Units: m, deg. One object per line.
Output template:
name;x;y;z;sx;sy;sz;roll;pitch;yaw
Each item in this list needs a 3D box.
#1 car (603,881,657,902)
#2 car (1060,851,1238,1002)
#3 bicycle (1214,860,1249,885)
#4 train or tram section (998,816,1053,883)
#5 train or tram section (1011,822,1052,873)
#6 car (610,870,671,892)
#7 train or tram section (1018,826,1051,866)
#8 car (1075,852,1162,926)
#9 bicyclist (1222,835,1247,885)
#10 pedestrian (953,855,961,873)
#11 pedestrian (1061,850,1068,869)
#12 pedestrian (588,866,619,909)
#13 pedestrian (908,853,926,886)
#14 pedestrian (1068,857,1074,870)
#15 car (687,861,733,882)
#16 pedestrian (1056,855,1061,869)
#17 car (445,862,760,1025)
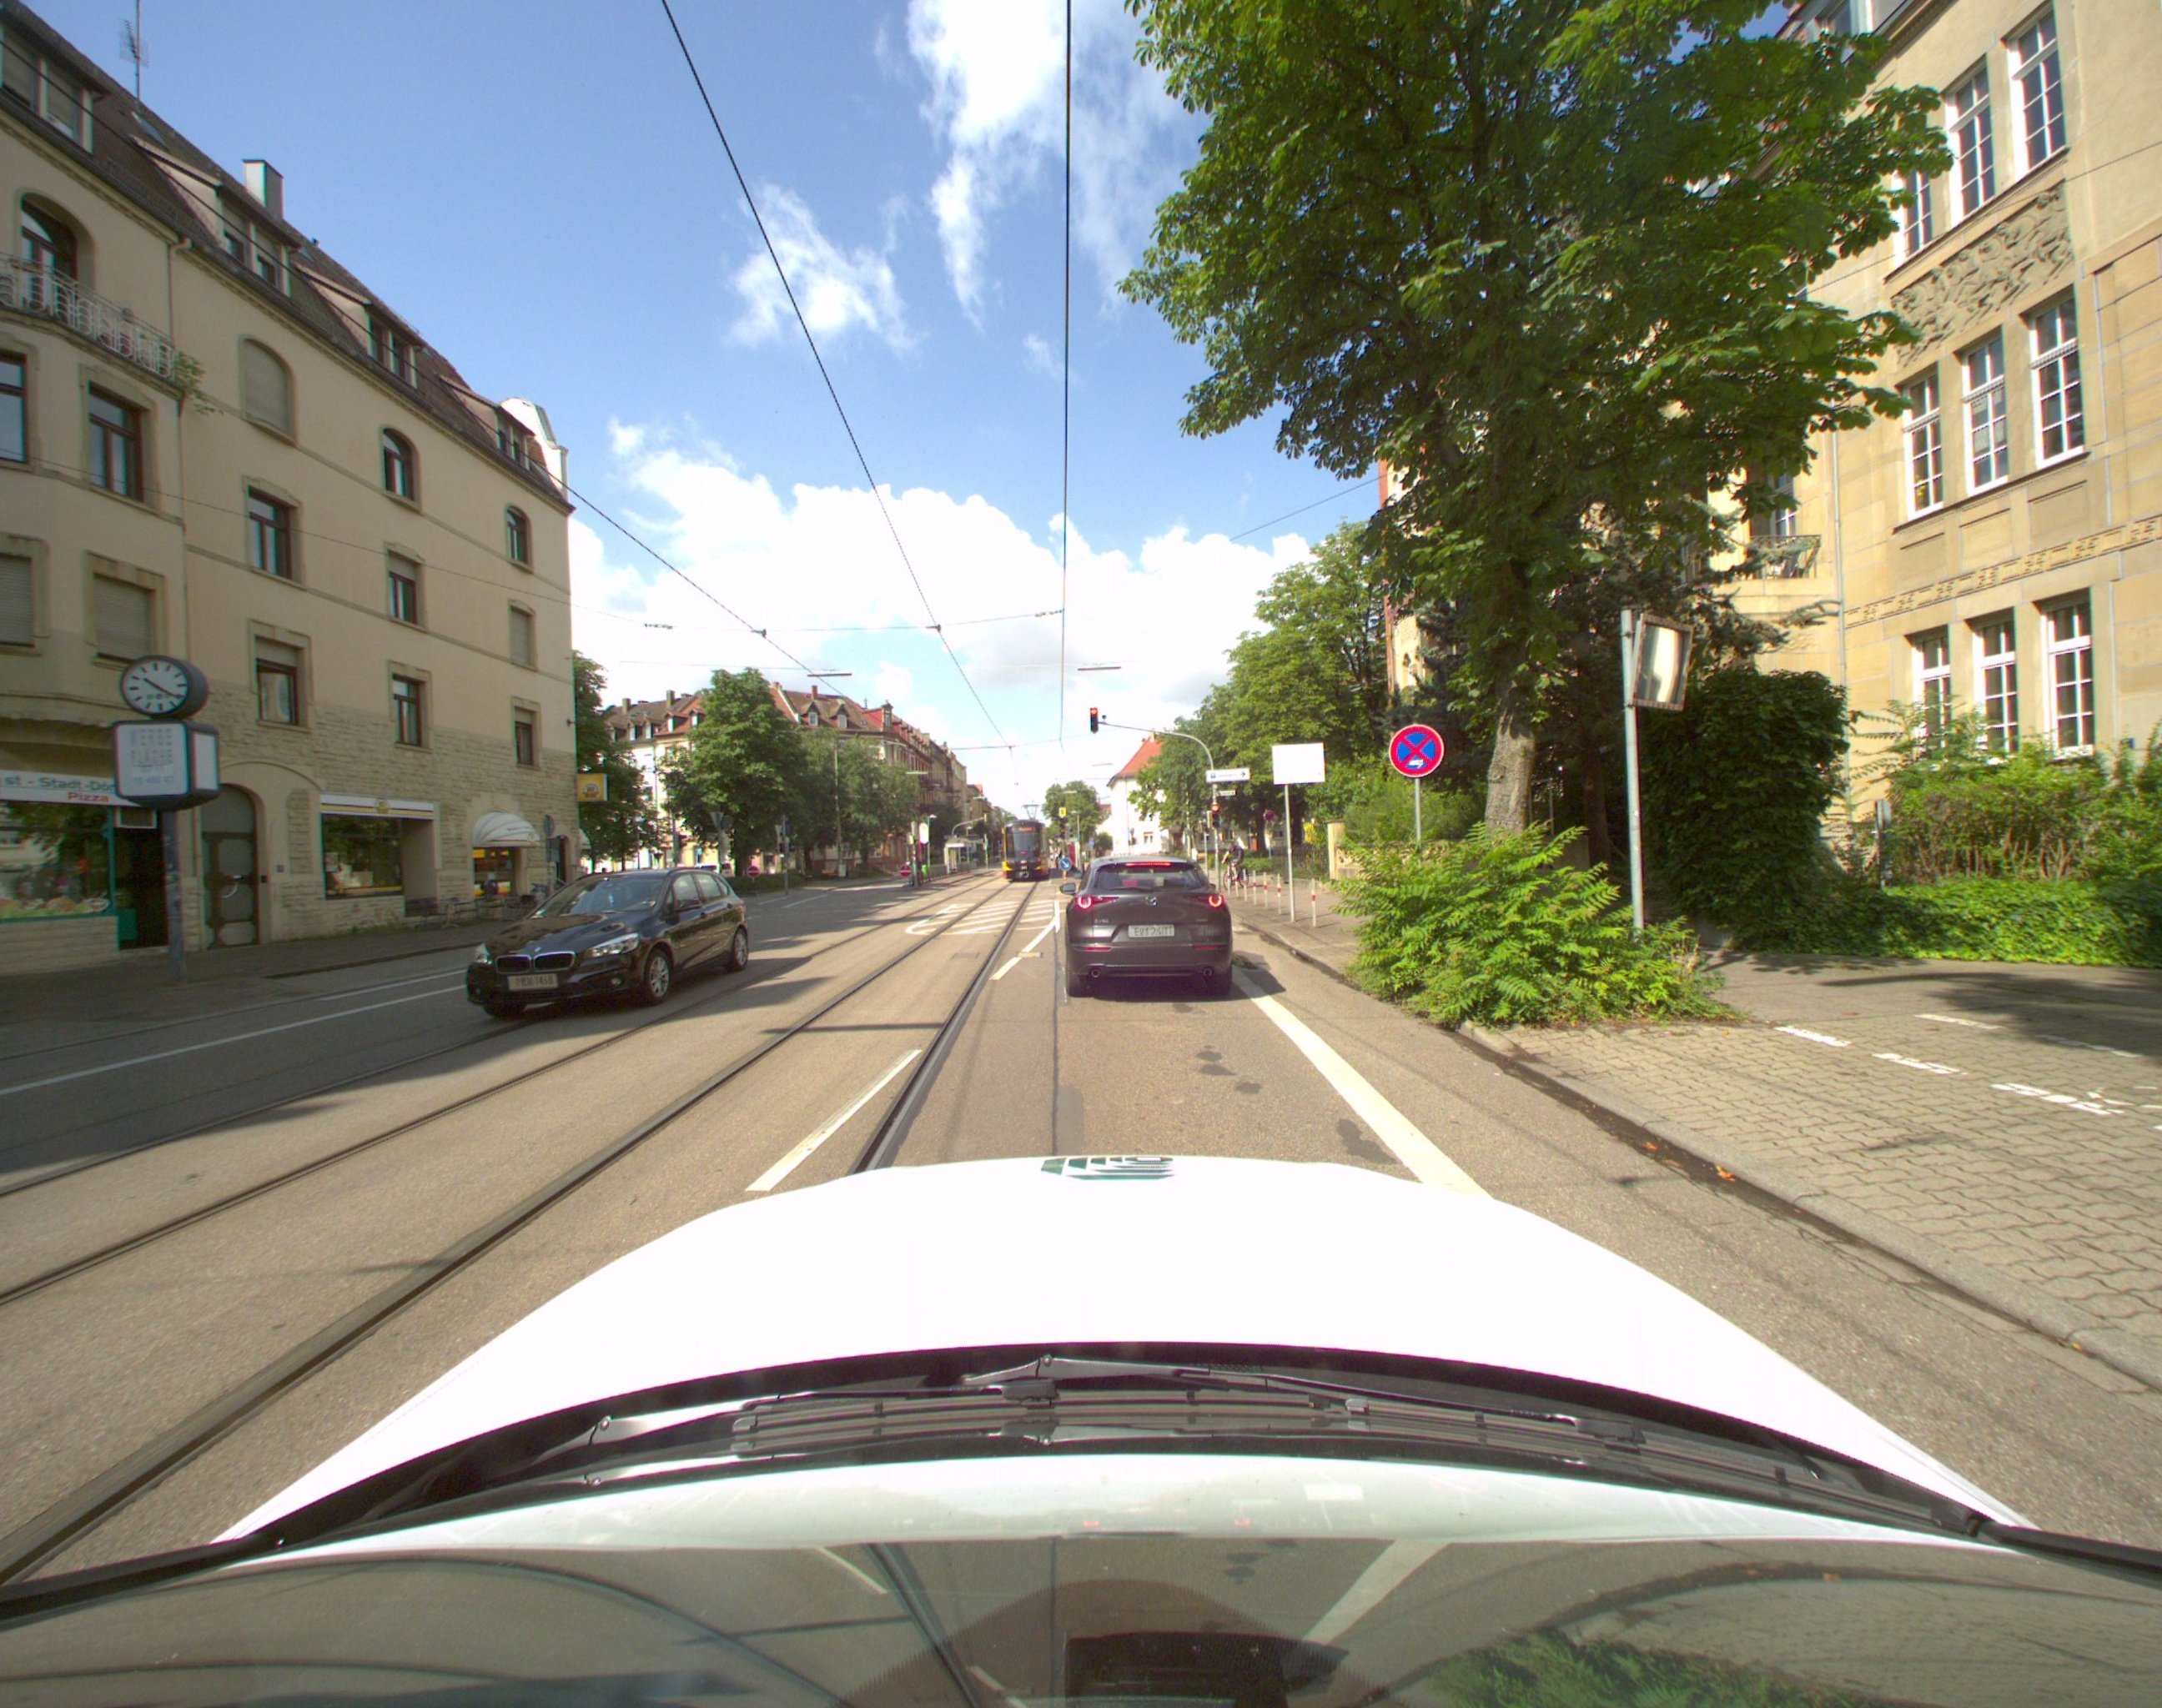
car;-30.174;2.486;54.584;1.670;1.182;3.993;-2;0;-5
car;0.729;0.716;10.148;1.772;1.499;4.001;0;0;1
bicycle;5.485;0.656;29.551;0.488;0.824;1.710;-2;0;38
train or tram section;-3.243;-0.356;50.809;2.746;3.490;14.396;-2;1;-2
train or tram section;-3.799;-0.596;65.181;2.746;3.490;14.396;-2;1;-2
car;-36.989;2.245;68.508;3.972;1.596;2.001;-3;0;2
train or tram section;-4.393;-0.835;79.565;2.746;3.490;14.396;-2;1;-2
car;0.828;0.713;18.758;1.772;1.499;4.001;0;0;1
bicyclist;5.606;0.201;29.717;0.649;1.793;0.614;-2;0;37
pedestrian;-9.893;0.826;64.916;0.424;1.399;0.401;-2;0;32
pedestrian;-1.275;0.409;62.104;0.449;1.434;0.474;-2;0;-3
pedestrian;-19.381;1.340;33.079;0.746;1.684;0.702;-2;0;11
pedestrian;-8.622;0.800;42.876;0.715;1.705;0.823;-2;0;-2
pedestrian;-0.791;0.736;62.475;0.379;0.984;0.474;-2;0;-3
car;-36.759;1.724;80.690;3.950;1.903;2.012;-2;0;26
pedestrian;-1.714;0.596;61.912;0.379;1.071;0.474;-2;0;-2
car;-5.643;0.923;10.296;1.753;1.518;4.062;-2;0;-4
